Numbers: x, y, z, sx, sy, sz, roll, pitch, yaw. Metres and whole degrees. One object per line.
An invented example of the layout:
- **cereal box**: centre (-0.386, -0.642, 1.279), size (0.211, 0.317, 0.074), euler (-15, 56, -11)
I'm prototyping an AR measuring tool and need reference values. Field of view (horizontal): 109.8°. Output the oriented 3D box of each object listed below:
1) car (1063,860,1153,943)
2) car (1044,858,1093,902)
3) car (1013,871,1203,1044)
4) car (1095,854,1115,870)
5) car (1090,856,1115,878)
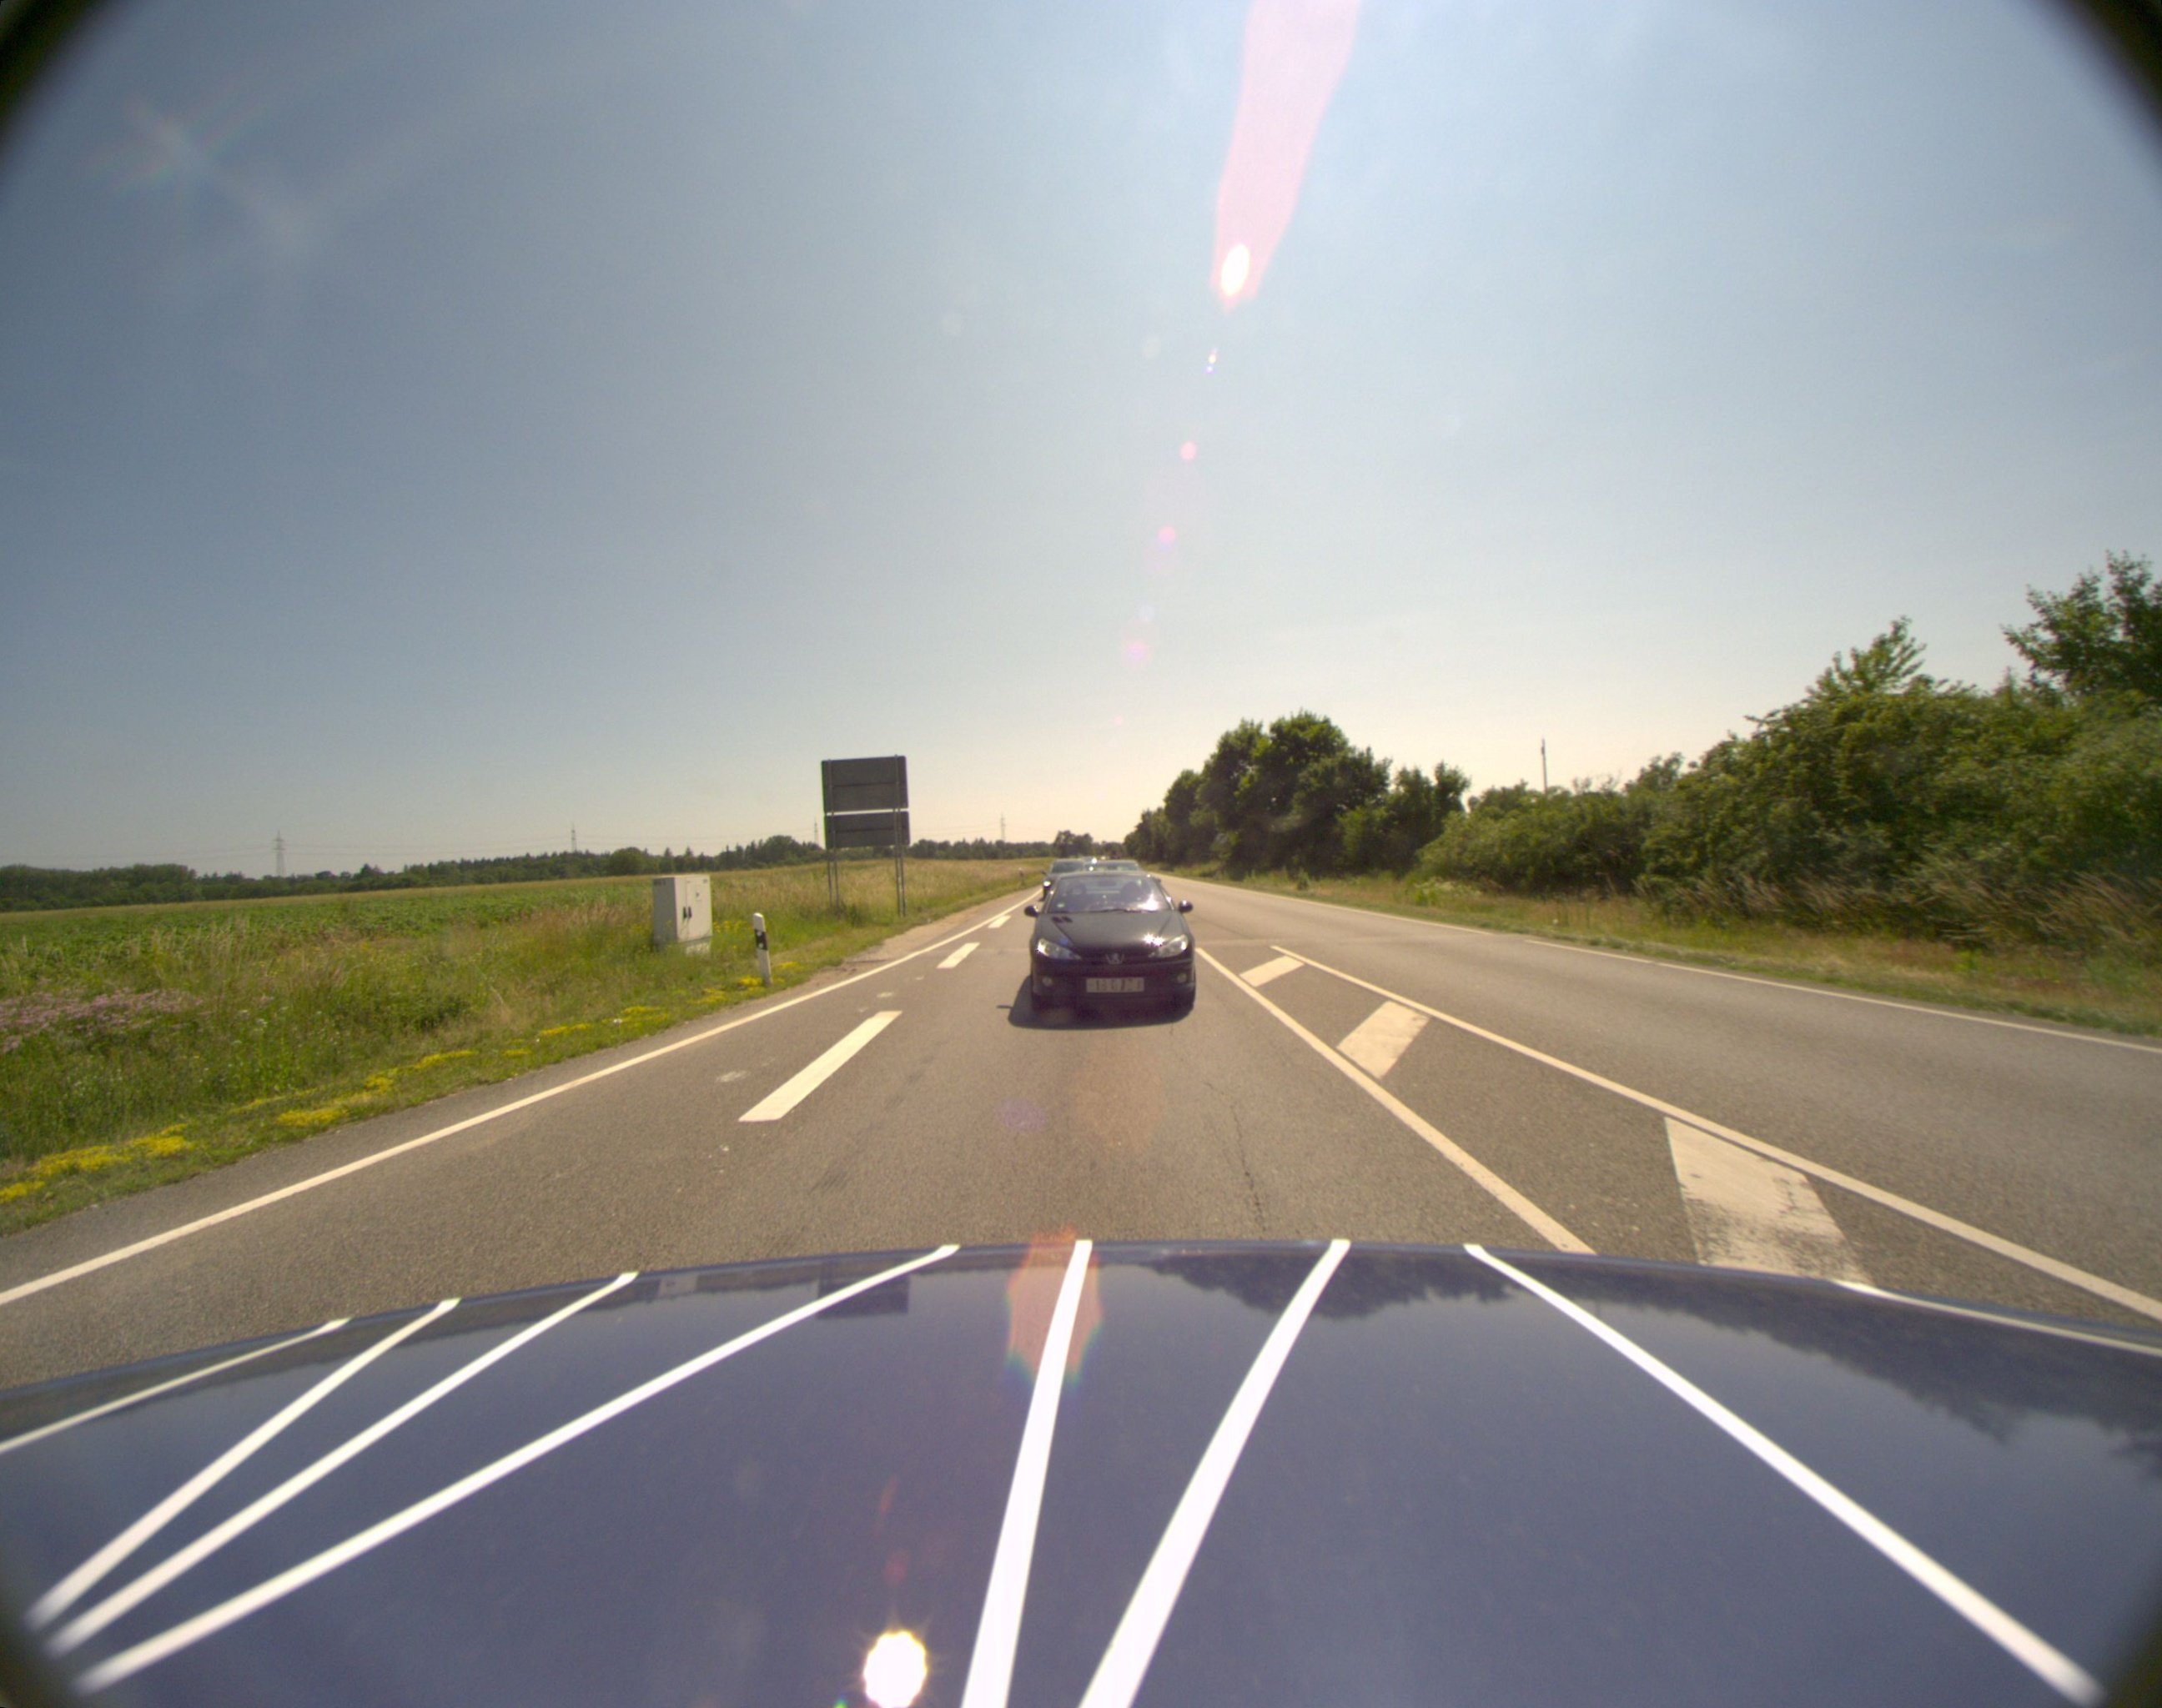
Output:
- **car**: centre (0.575, 0.925, 16.386), size (1.665, 1.477, 3.732), euler (-2, 0, 2)
- **car**: centre (-0.420, 0.935, 29.075), size (1.665, 1.449, 4.173), euler (-2, 0, 1)
- **car**: centre (0.266, 0.974, 8.691), size (1.665, 1.389, 3.731), euler (-2, 0, 1)
- **car**: centre (2.063, 0.660, 65.967), size (1.588, 1.294, 3.631), euler (-2, 0, 1)
- **car**: centre (1.414, 0.835, 50.773), size (1.588, 1.294, 3.631), euler (-2, 0, 1)
